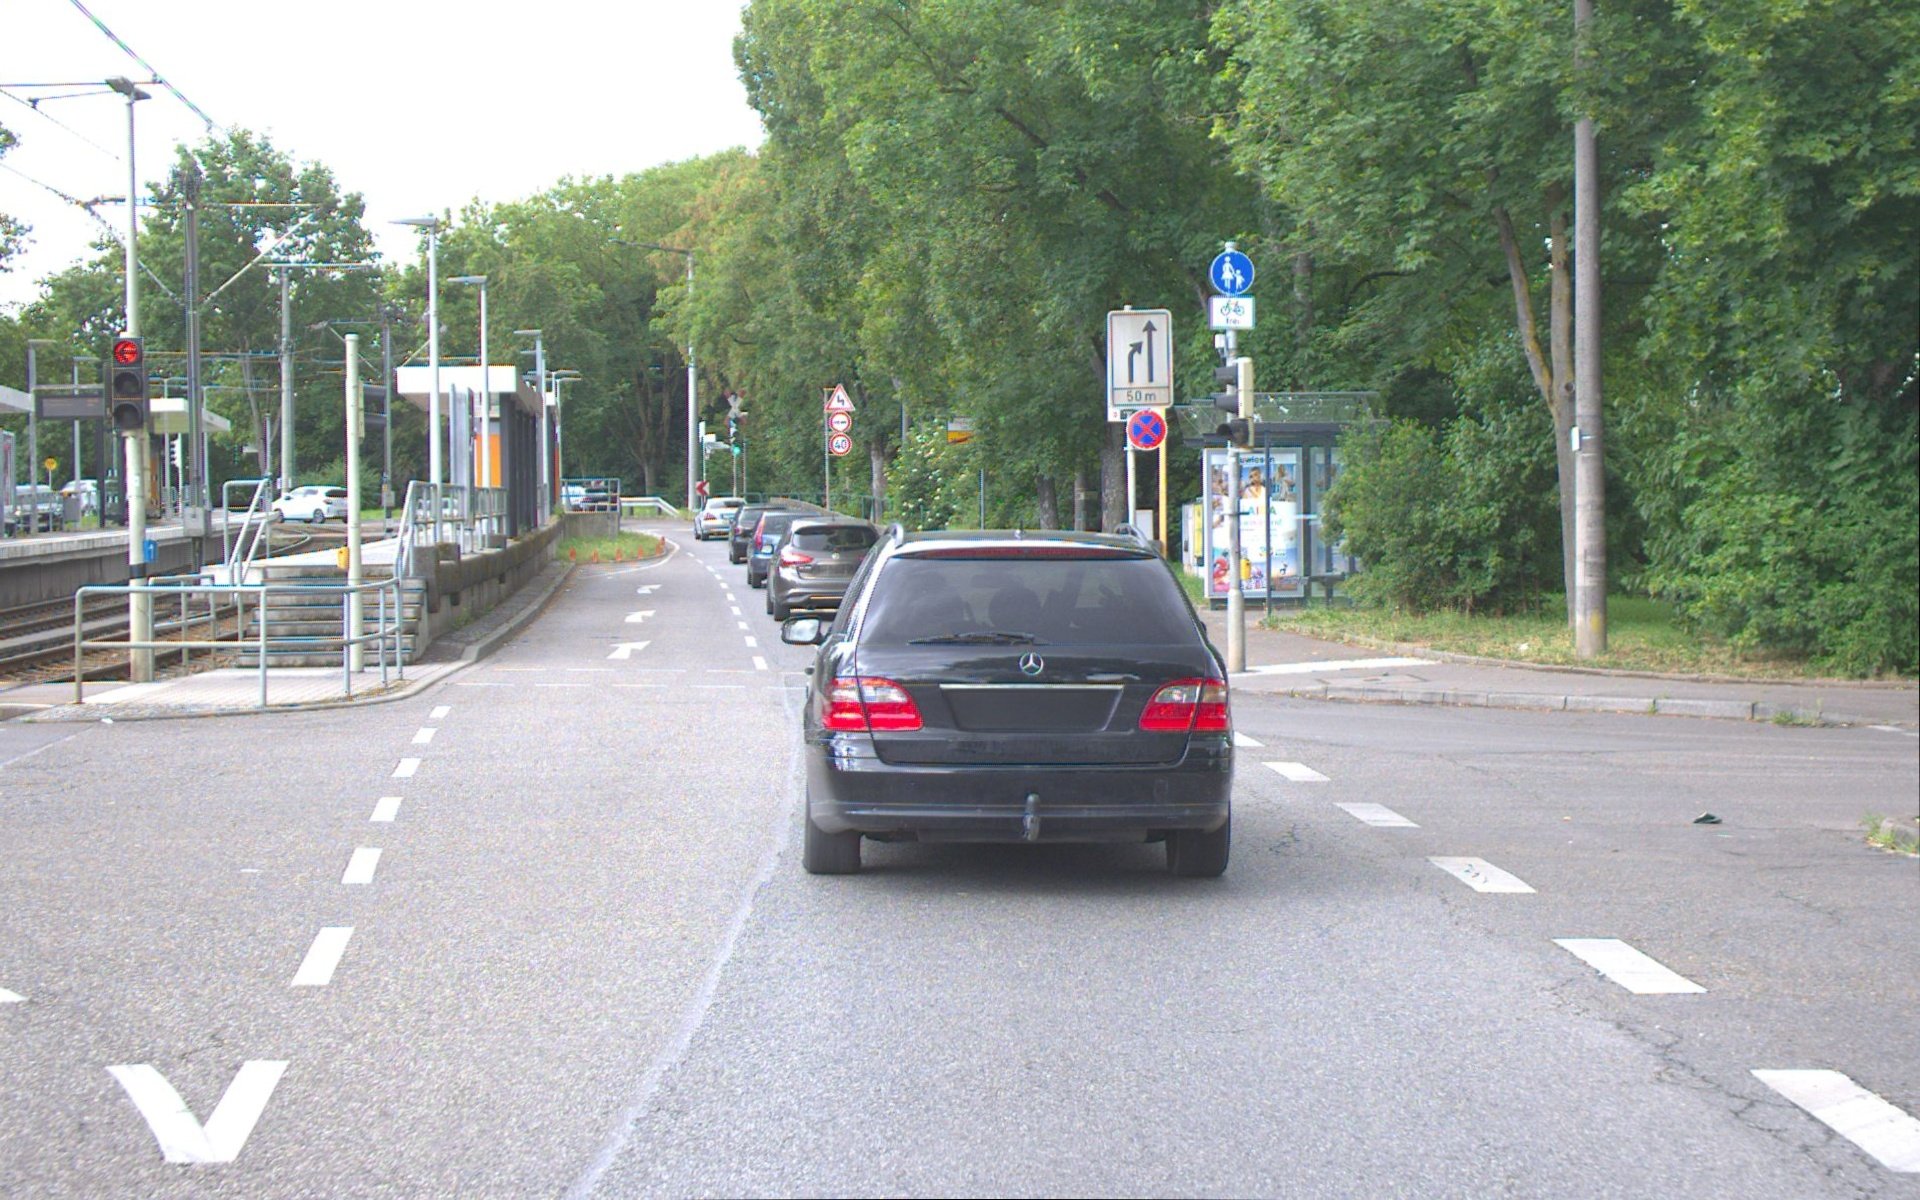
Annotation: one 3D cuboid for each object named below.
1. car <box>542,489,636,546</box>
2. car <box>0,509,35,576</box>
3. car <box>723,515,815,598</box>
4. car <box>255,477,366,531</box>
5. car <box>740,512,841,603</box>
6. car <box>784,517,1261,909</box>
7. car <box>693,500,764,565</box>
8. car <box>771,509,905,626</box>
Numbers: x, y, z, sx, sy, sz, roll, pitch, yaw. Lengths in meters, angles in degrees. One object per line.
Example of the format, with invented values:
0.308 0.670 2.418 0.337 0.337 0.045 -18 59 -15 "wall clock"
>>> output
-13.352 -2.937 123.479 1.993 1.960 4.001 1 0 -28 "car"
-26.673 -1.550 94.350 1.710 1.745 4.400 -2 0 -5 "car"
-4.669 -1.046 83.588 1.993 1.911 4.001 1 0 -6 "car"
-25.703 -3.800 136.016 3.994 2.007 1.996 2 0 32 "car"
-3.286 -0.807 66.219 1.781 1.642 4.001 1 0 -5 "car"
0.146 0.403 15.391 1.781 1.520 4.001 0 1 -4 "car"
-7.061 -2.044 104.648 1.993 1.886 4.001 1 0 -6 "car"
-1.795 -0.482 51.587 1.782 1.642 4.000 1 0 1 "car"
